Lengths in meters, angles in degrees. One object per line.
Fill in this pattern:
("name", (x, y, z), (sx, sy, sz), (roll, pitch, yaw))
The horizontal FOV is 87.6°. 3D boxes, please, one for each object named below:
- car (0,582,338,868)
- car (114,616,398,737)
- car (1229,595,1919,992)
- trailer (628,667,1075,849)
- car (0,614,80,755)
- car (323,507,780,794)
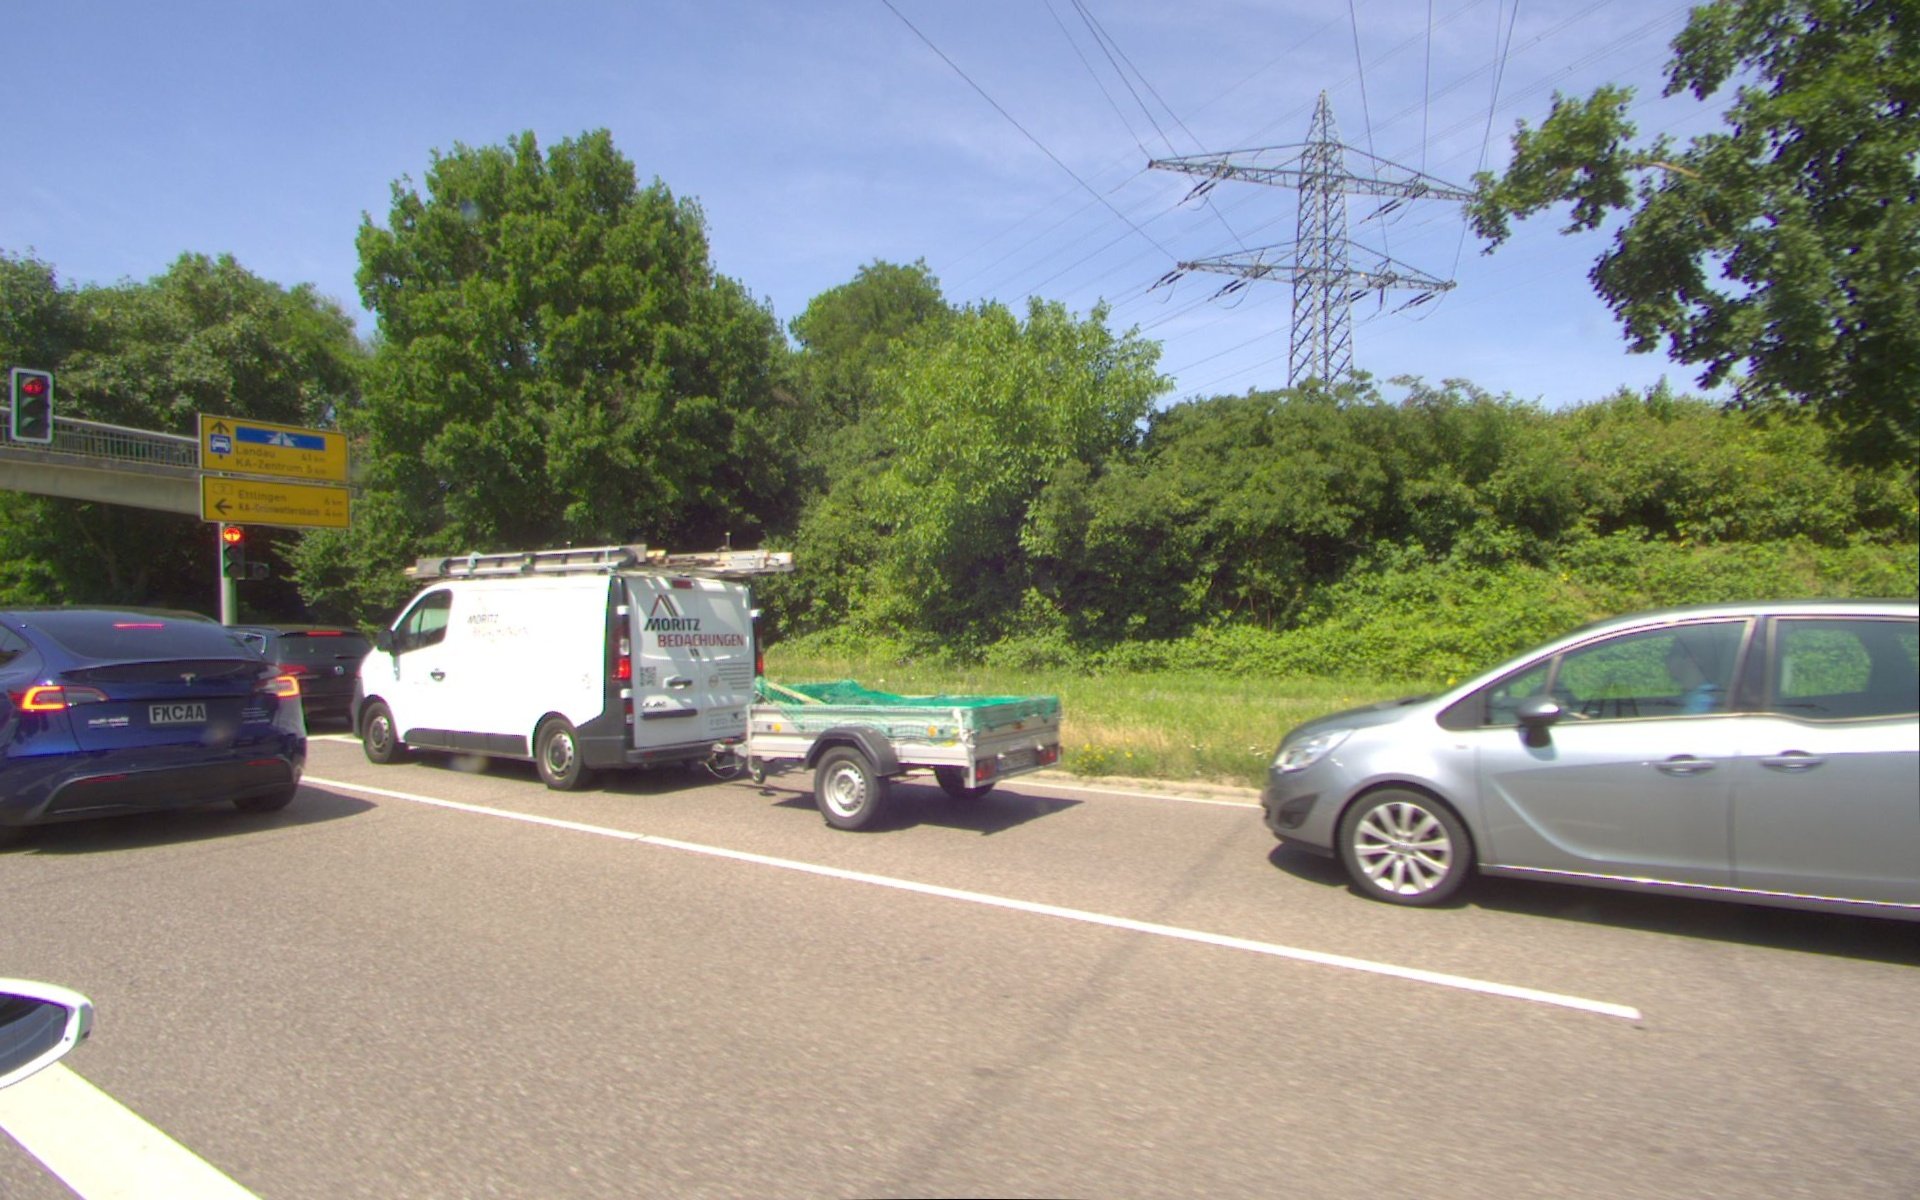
("car", (-6.971, 0.769, 7.835), (4.457, 1.665, 1.896), (0, -1, 33))
("car", (-10.153, 0.989, 14.360), (4.319, 1.497, 1.896), (0, -1, 33))
("car", (3.705, 0.801, 5.274), (4.107, 1.617, 1.761), (0, 0, 33))
("trailer", (-0.914, 1.130, 8.101), (3.277, 1.019, 1.702), (0, -1, 33))
("car", (-11.975, 0.907, 11.470), (3.884, 1.497, 1.896), (0, -1, 33))
("car", (-4.401, 0.464, 10.493), (5.003, 2.379, 1.929), (-1, -1, 33))
